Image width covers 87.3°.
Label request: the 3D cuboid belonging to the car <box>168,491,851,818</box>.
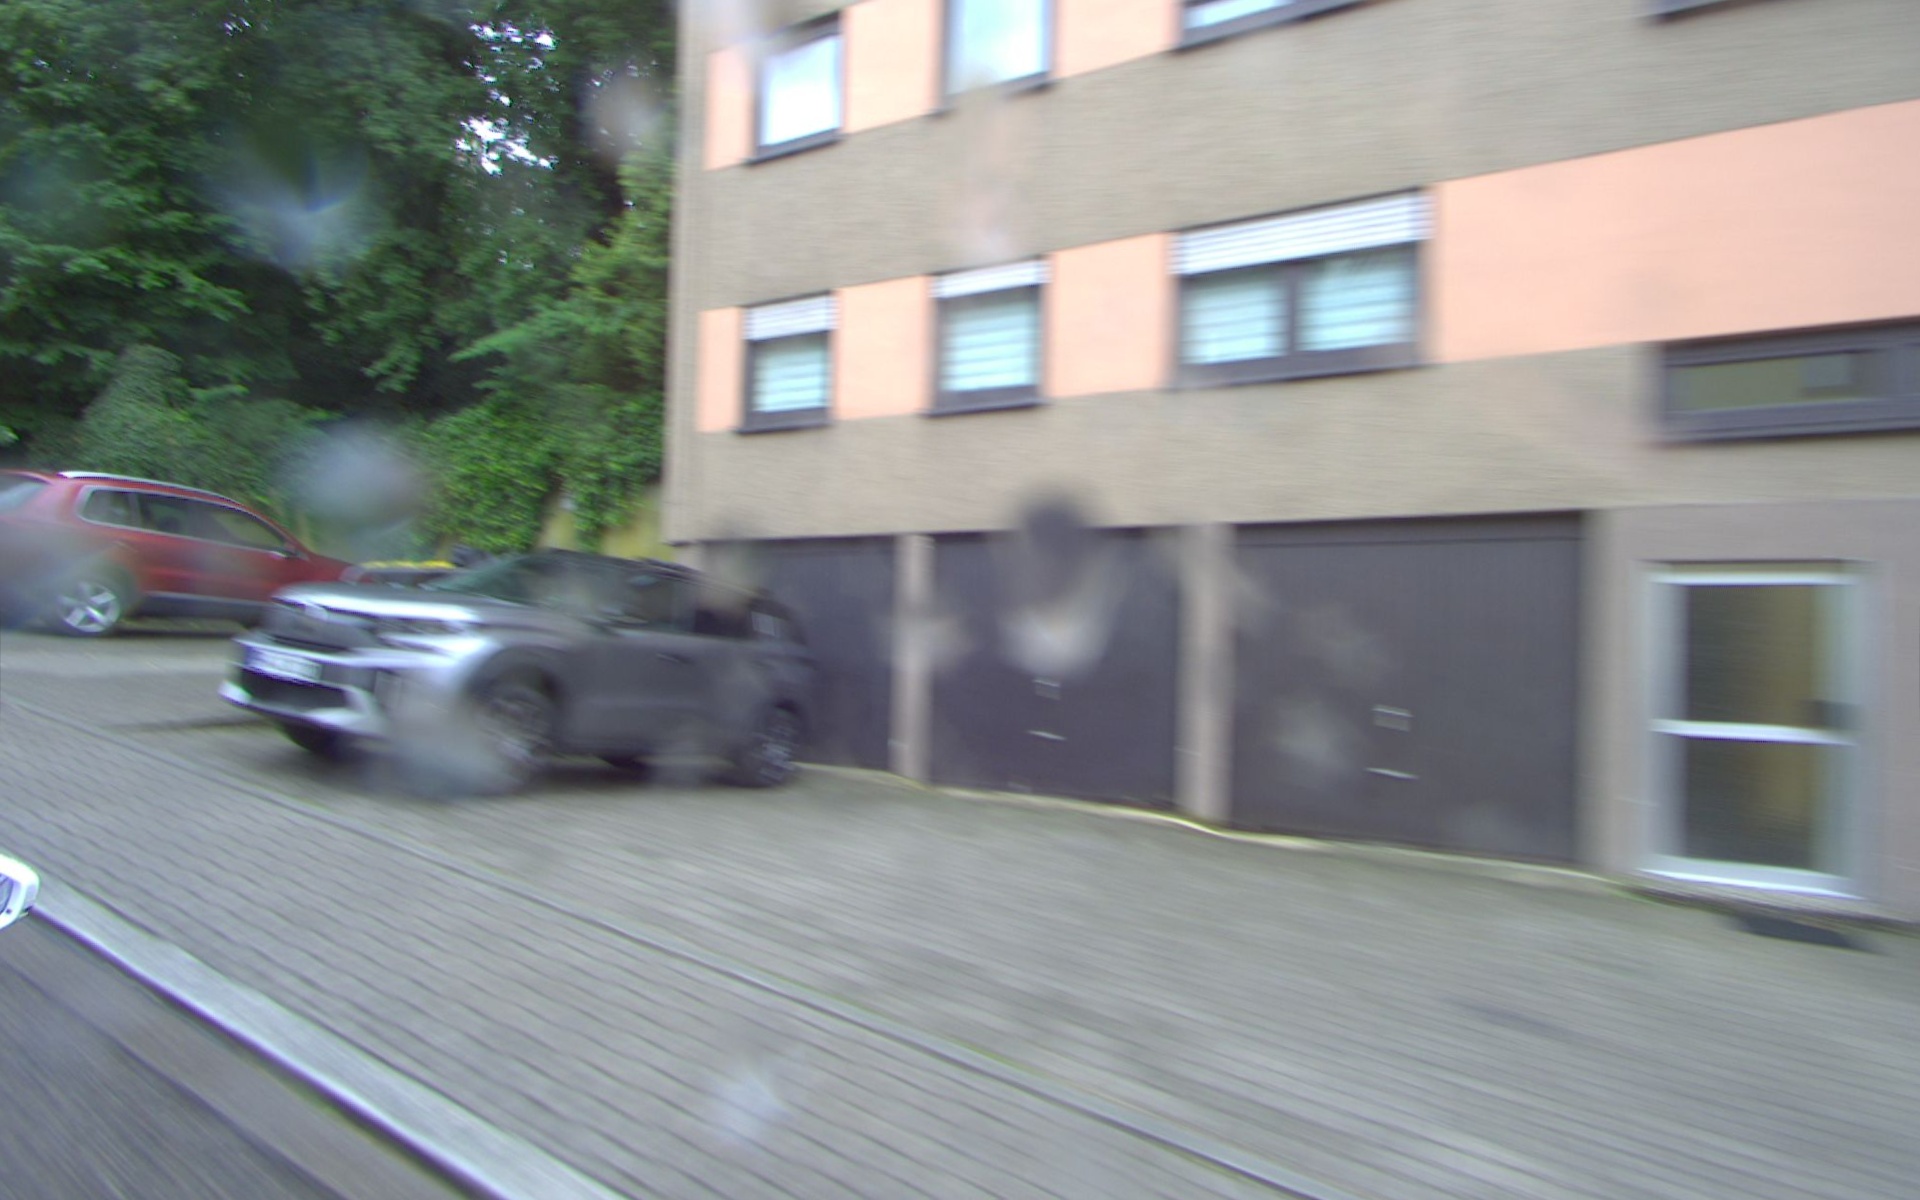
[{"bbox_3d":[-2.722,0.417,7.220,1.729,1.513,4.211,7,-2,26],"label":"car"}]

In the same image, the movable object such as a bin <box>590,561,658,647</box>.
[{"bbox_3d":[-4.476,0.055,13.414,0.593,1.074,0.508,5,-1,29],"label":"movable object such as a bin"}]

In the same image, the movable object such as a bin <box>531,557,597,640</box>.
[{"bbox_3d":[-5.510,-0.019,14.002,0.593,1.074,0.508,5,-1,29],"label":"movable object such as a bin"}]

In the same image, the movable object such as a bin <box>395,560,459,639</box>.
[{"bbox_3d":[-7.765,0.002,14.656,0.593,1.074,0.508,5,-1,29],"label":"movable object such as a bin"}]

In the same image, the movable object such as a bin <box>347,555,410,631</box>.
[{"bbox_3d":[-8.807,-0.107,15.242,0.593,1.074,0.508,5,-1,29],"label":"movable object such as a bin"}]

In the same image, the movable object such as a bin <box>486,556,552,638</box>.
[{"bbox_3d":[-6.163,-0.037,14.053,0.593,1.074,0.508,5,-1,29],"label":"movable object such as a bin"}]

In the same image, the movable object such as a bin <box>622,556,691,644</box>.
[{"bbox_3d":[-3.950,0.007,13.112,0.593,1.074,0.508,5,-1,29],"label":"movable object such as a bin"}]

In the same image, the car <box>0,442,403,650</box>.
[{"bbox_3d":[-8.949,-0.509,11.443,1.728,1.754,4.212,7,-2,25],"label":"car"}]

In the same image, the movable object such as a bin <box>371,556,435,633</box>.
[{"bbox_3d":[-8.282,-0.080,14.954,0.593,1.074,0.508,5,-1,29],"label":"movable object such as a bin"}]

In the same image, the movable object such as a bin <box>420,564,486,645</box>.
[{"bbox_3d":[-7.226,0.065,14.347,0.593,1.074,0.508,5,-1,29],"label":"movable object such as a bin"}]

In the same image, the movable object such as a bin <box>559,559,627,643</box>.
[{"bbox_3d":[-4.996,0.021,13.702,0.593,1.074,0.508,5,-1,29],"label":"movable object such as a bin"}]
